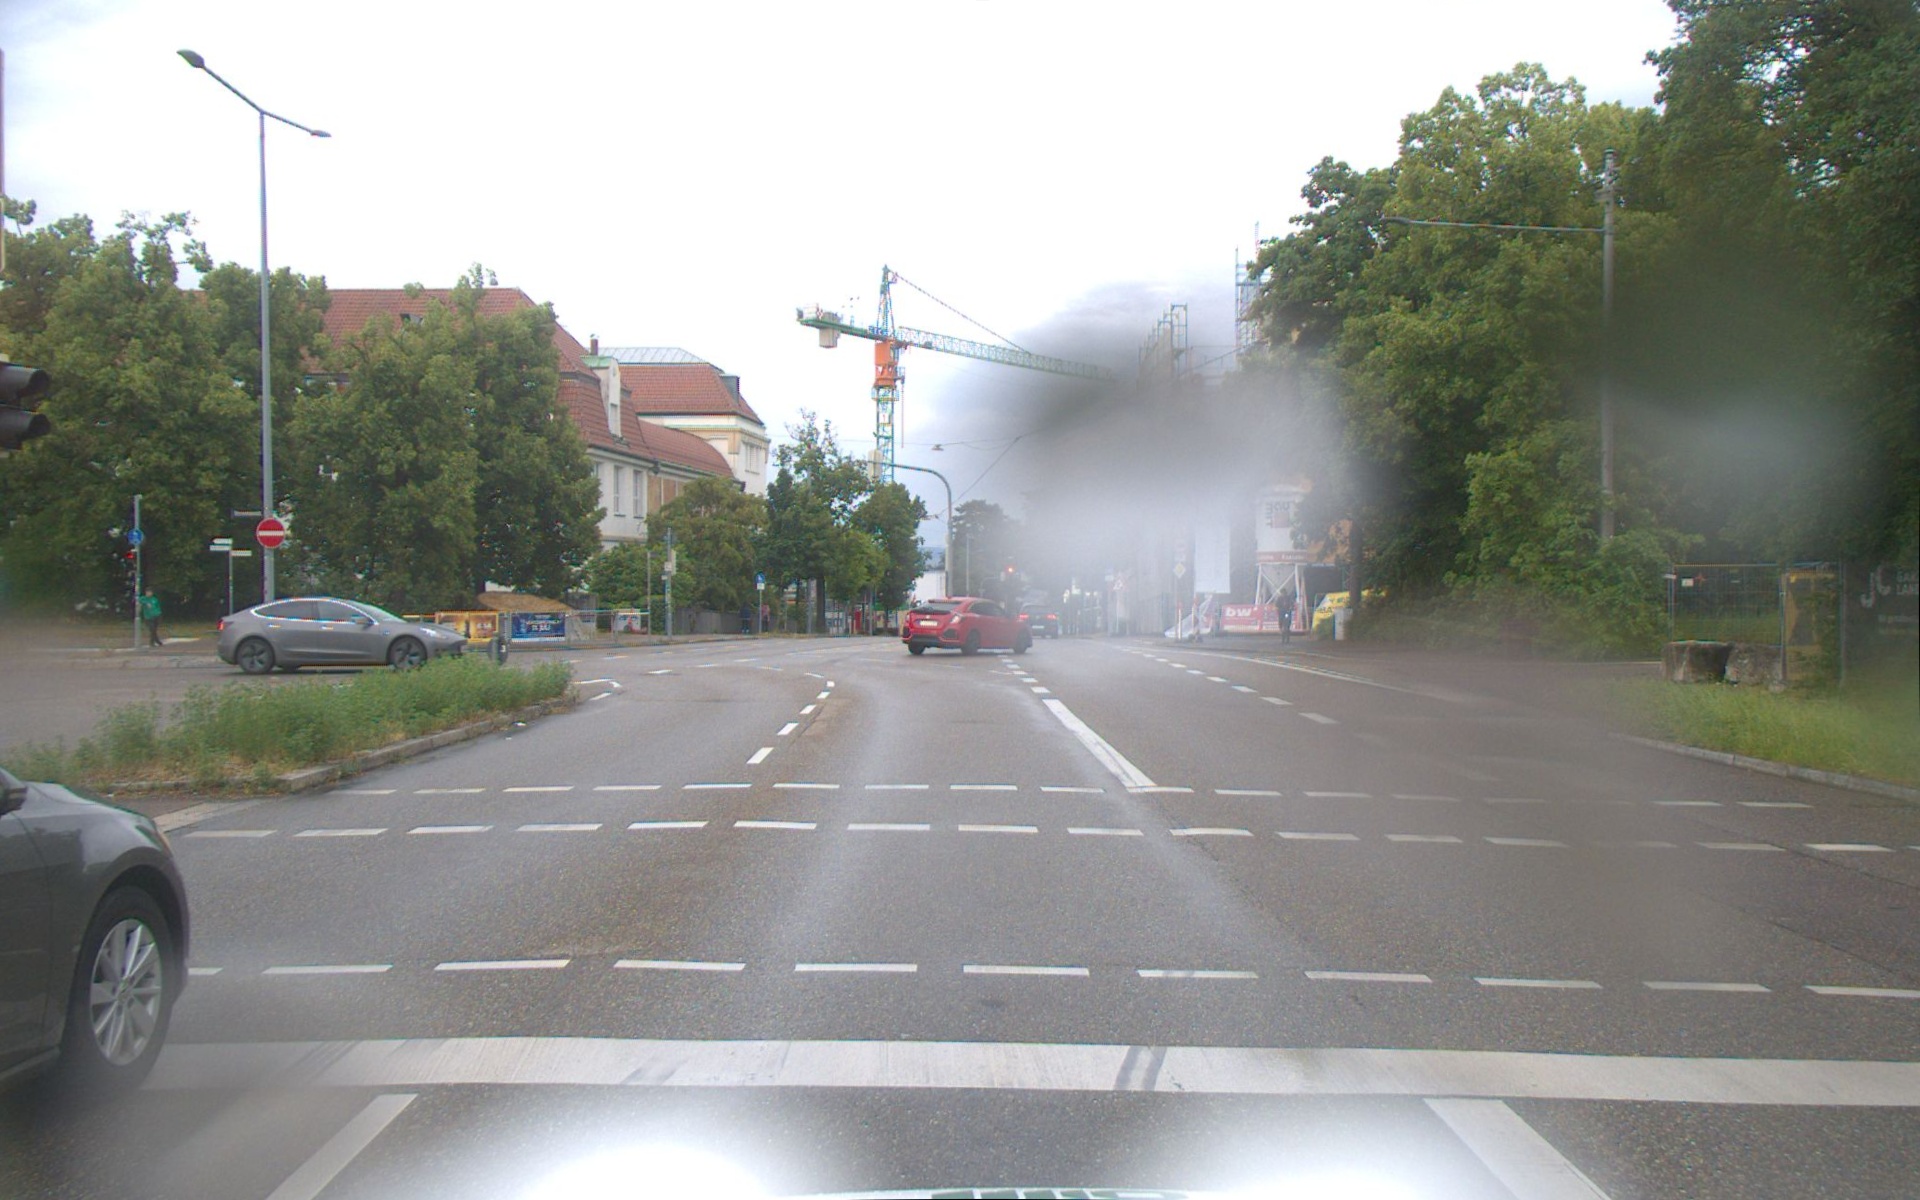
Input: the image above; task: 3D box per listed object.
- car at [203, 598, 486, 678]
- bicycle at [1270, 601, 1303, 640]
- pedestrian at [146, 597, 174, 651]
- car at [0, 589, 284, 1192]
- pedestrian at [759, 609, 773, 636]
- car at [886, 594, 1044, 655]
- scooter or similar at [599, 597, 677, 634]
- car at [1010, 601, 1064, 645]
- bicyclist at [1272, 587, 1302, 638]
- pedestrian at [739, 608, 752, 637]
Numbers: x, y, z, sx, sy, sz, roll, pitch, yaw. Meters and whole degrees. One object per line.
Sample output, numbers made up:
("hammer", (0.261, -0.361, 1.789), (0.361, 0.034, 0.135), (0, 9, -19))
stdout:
("car", (-11.691, 0.712, 31.679), (4.675, 1.450, 1.998), (1, 0, -4))
("bicycle", (10.359, 0.656, 52.539), (0.705, 1.214, 1.756), (2, -2, 1))
("pedestrian", (-22.947, 0.682, 47.437), (0.608, 1.516, 0.768), (0, 0, -17))
("car", (-3.223, 0.733, 3.539), (1.768, 1.454, 4.197), (-2, 0, 0))
("pedestrian", (-10.078, 1.170, 85.745), (0.624, 1.410, 0.606), (2, -2, -2))
("car", (0.193, 0.594, 42.030), (1.958, 1.450, 4.508), (1, 0, 32))
("scooter or similar", (-13.191, 0.636, 67.824), (3.026, 1.465, 0.948), (0, 0, -3))
("car", (3.185, 0.994, 69.144), (1.953, 1.736, 3.998), (2, -2, -1))
("bicyclist", (10.356, 0.403, 52.451), (0.705, 1.591, 1.143), (2, -2, 1))
("pedestrian", (-11.008, 1.164, 84.911), (0.575, 1.454, 0.467), (2, -2, 0))
